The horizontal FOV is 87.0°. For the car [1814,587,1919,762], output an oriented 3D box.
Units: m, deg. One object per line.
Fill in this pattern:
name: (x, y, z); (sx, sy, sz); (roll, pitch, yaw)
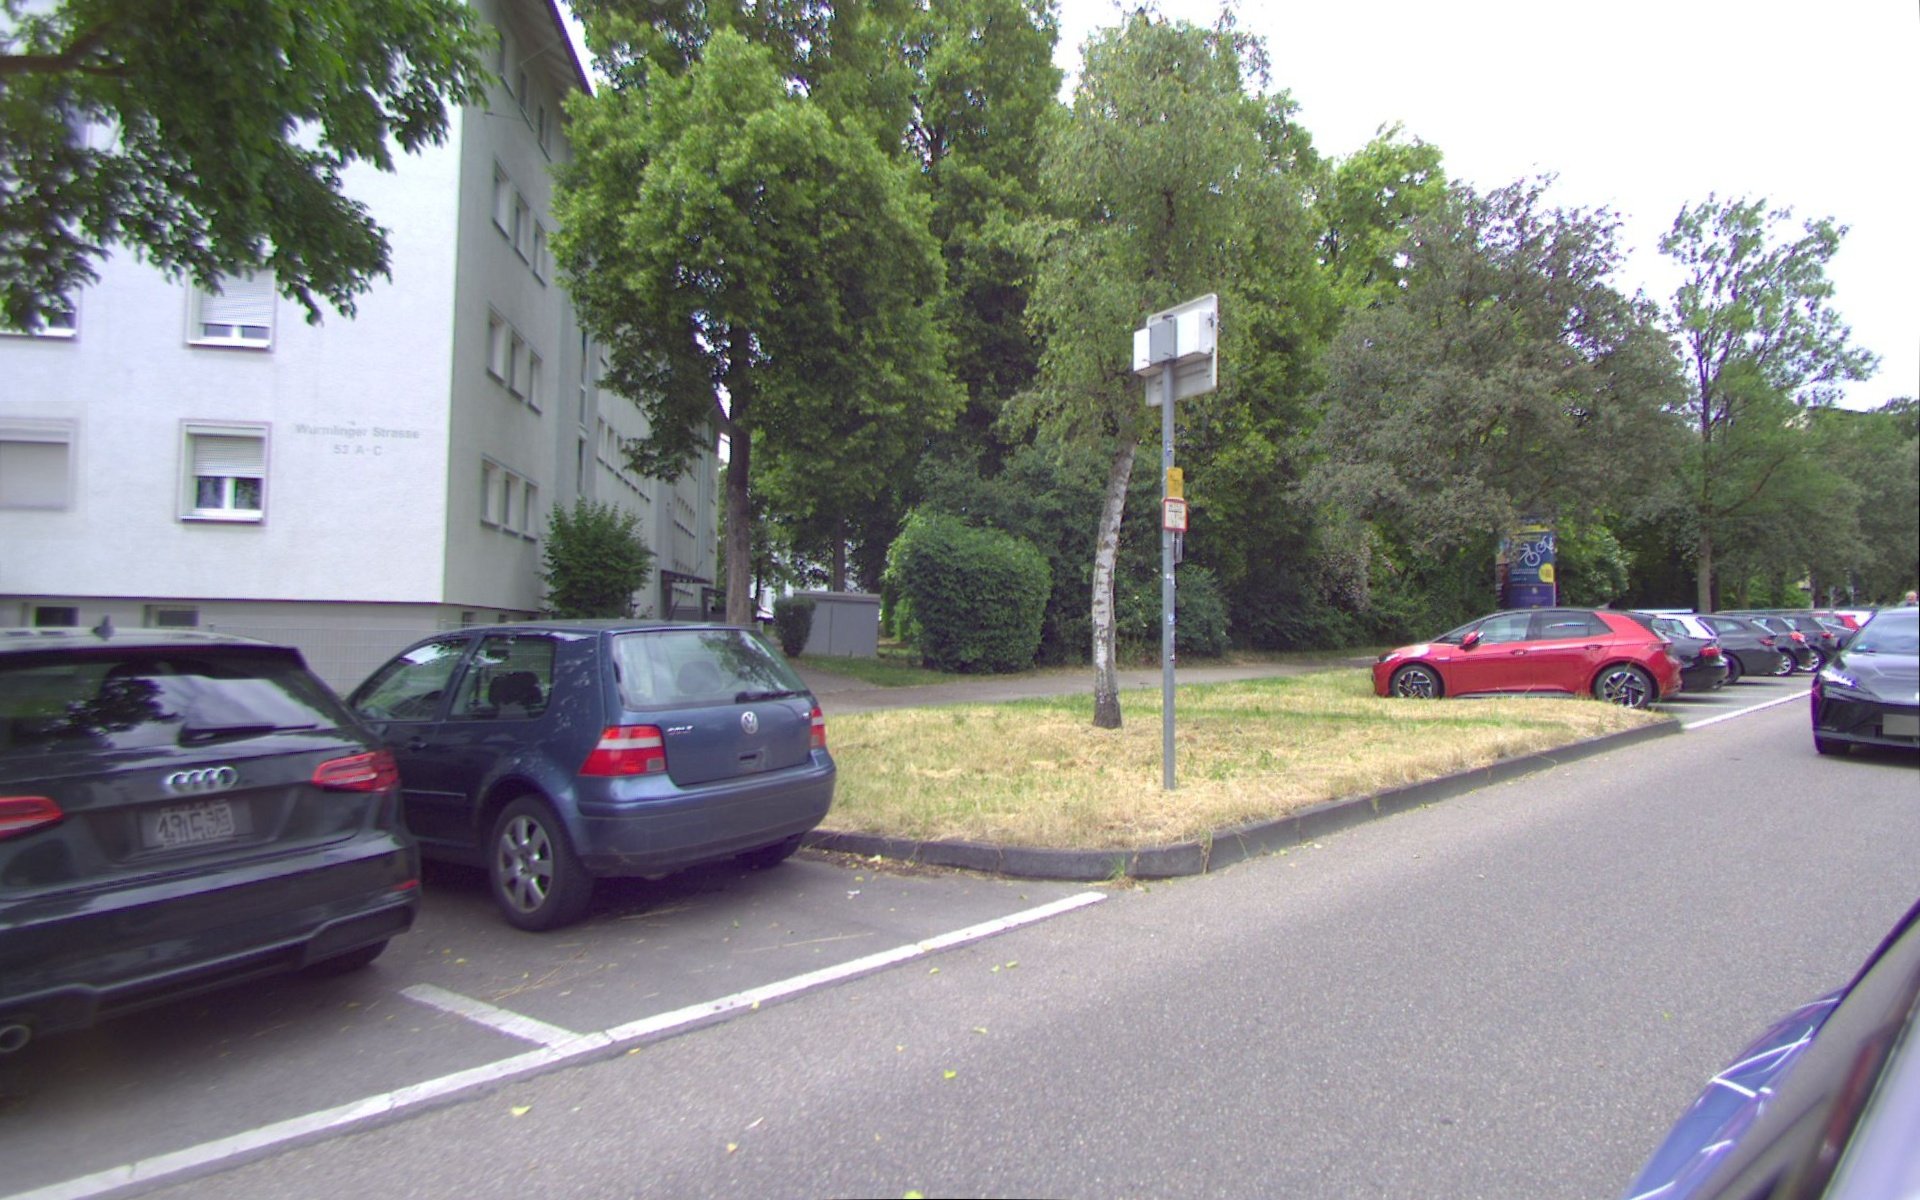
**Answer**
car: (10.316, 0.677, 10.301); (4.222, 1.570, 1.802); (0, -1, -40)

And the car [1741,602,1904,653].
car: (27.702, 0.880, 32.591); (1.579, 1.549, 3.822); (0, -1, -44)

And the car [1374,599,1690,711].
car: (8.740, 0.792, 15.705); (4.053, 1.535, 1.713); (-1, -1, 33)

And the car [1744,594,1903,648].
car: (29.263, 0.734, 34.464); (3.978, 1.747, 1.657); (-2, -1, 39)

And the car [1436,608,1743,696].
car: (10.737, 0.855, 17.483); (4.300, 1.358, 1.711); (-2, -2, 37)

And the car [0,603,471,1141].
car: (-3.996, 0.788, 4.177); (4.009, 1.424, 1.736); (-2, -2, 32)

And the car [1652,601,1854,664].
car: (20.111, 0.827, 25.844); (3.902, 1.506, 1.596); (-2, -2, 38)

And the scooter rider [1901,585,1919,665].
scooter rider: (21.453, 0.550, 22.517); (0.681, 1.752, 1.177); (-2, -2, 45)

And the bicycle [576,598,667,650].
bicycle: (-7.466, 0.547, 22.390); (0.538, 1.092, 1.898); (-4, -5, 43)

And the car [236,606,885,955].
car: (-2.521, 0.812, 6.016); (3.951, 1.424, 1.734); (-2, -2, 35)

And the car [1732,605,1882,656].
car: (25.858, 0.931, 31.044); (3.417, 1.464, 1.538); (-2, -1, 38)

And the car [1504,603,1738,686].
car: (12.641, 0.841, 19.522); (3.597, 1.464, 1.613); (-2, -2, 35)

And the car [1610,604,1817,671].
car: (17.969, 0.891, 24.257); (3.833, 1.474, 1.610); (-2, -2, 40)

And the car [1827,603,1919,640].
car: (38.707, 0.914, 42.380); (3.515, 1.495, 1.570); (-2, -2, 38)

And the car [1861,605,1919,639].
car: (42.975, 0.953, 45.077); (4.127, 1.495, 1.554); (-2, -2, 39)

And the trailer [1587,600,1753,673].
trailer: (16.137, 0.825, 23.088); (2.978, 1.562, 1.285); (-2, -3, 37)

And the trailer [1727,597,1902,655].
trailer: (24.338, 0.768, 28.986); (3.681, 1.555, 1.623); (-2, -3, 39)

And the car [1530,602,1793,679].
car: (14.460, 0.846, 21.169); (4.325, 1.464, 1.615); (-2, -2, 33)
